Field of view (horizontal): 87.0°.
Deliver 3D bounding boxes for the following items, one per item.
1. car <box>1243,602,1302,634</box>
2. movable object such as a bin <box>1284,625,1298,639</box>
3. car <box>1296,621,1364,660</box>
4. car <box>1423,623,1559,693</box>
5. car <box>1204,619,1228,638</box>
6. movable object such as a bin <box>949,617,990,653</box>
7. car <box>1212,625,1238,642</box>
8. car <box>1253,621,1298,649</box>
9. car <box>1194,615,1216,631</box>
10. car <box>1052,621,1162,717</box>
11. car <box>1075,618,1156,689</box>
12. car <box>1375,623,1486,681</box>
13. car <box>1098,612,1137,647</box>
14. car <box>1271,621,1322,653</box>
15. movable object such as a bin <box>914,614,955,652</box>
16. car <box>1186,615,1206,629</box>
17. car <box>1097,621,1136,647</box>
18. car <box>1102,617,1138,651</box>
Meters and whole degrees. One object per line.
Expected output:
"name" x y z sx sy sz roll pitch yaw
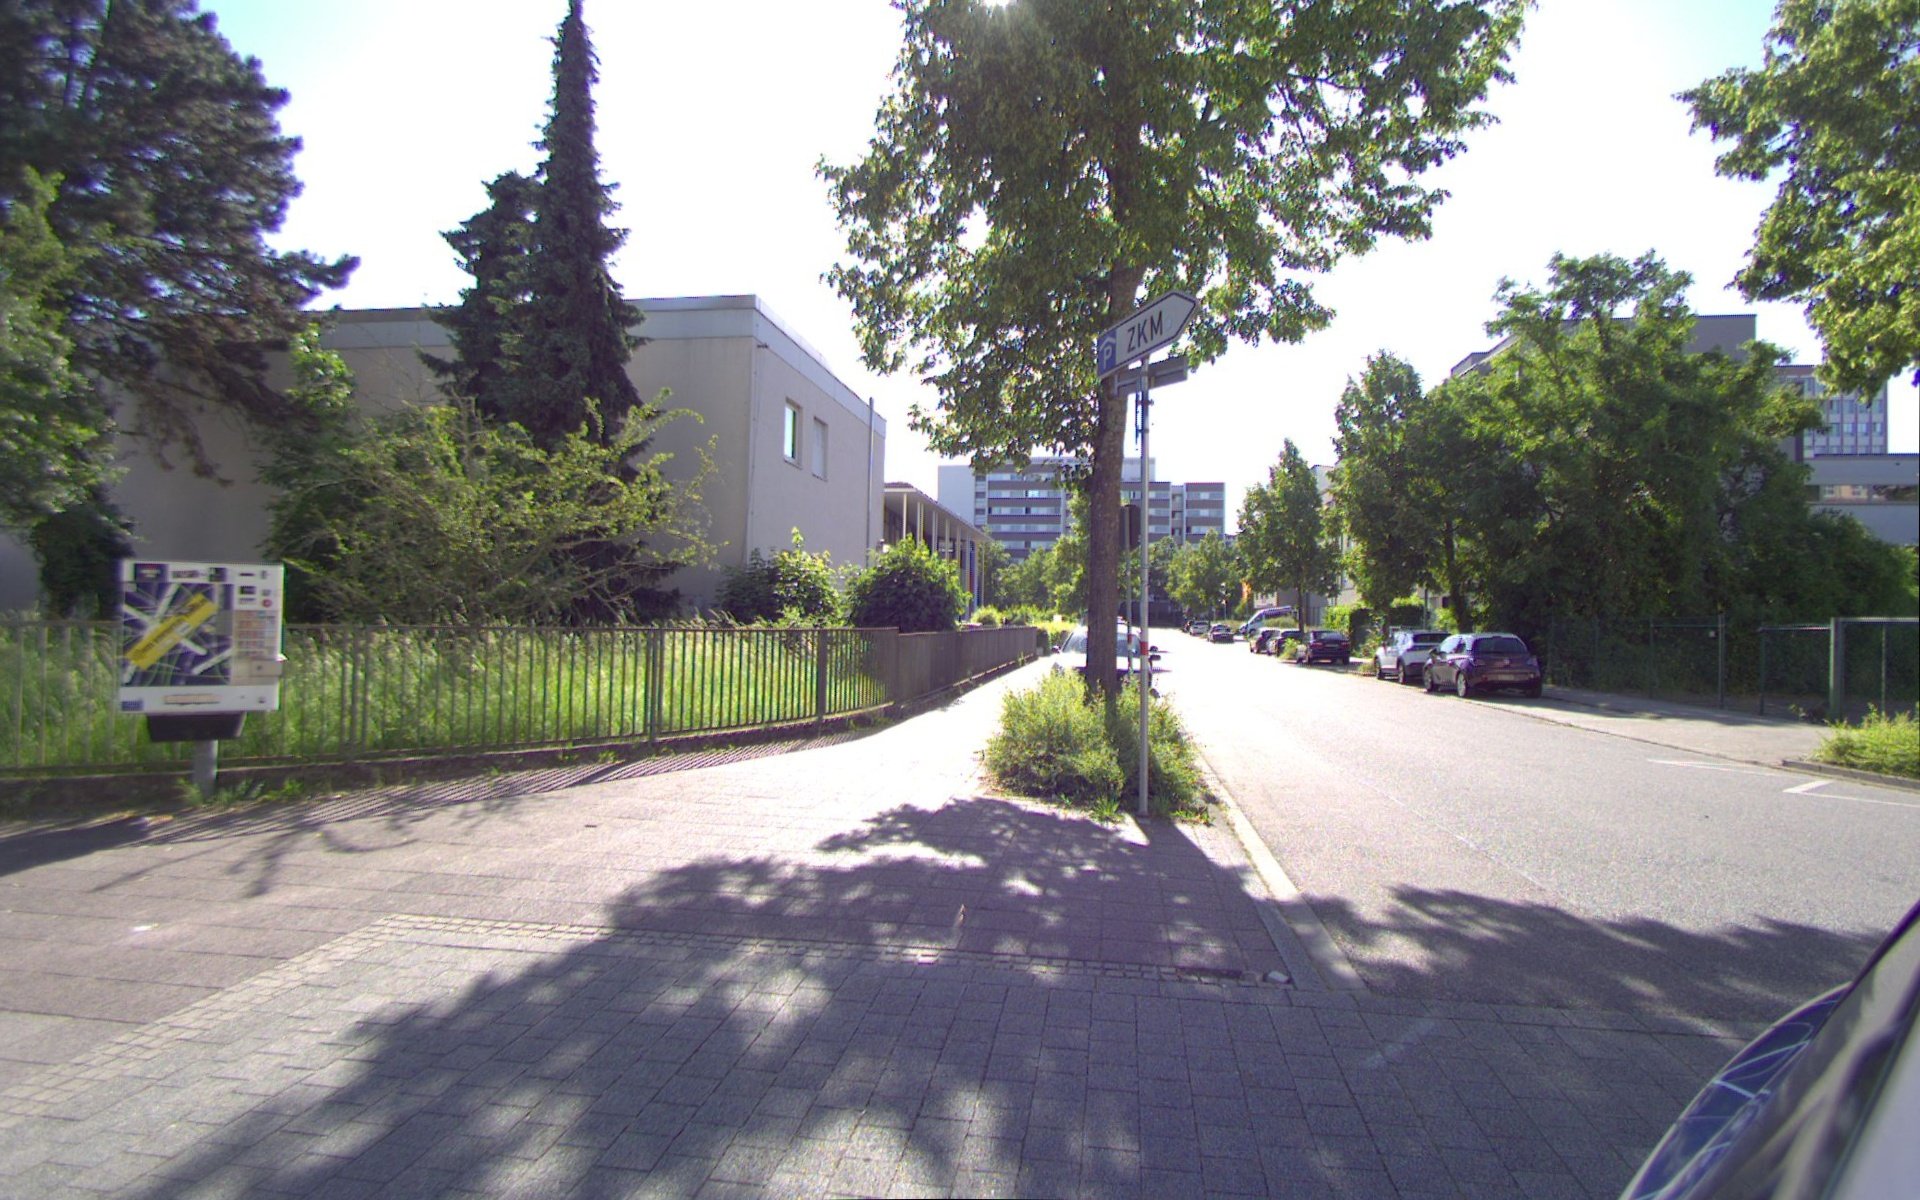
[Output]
"car" 29.738 1.686 96.359 5.066 2.939 2.010 1 -1 6
"movable object such as a bin" 25.509 2.433 77.947 0.848 1.051 0.676 -2 -1 7
"car" 15.425 1.674 42.424 1.816 1.493 4.347 -1 -1 9
"car" 12.542 1.328 24.139 1.694 1.493 3.538 -1 -1 7
"car" 22.020 2.419 87.024 1.605 1.544 3.553 1 -1 9
"movable object such as a bin" 0.378 1.377 40.212 1.349 1.375 1.626 1 -1 10
"car" 21.243 2.656 81.216 1.605 1.263 3.552 1 -1 9
"car" 17.903 1.957 57.560 1.816 1.493 4.088 -1 -1 9
"car" 25.658 2.424 106.218 1.766 1.620 3.882 0 -1 7
"car" 2.704 1.134 18.238 1.724 1.440 4.411 0 0 10
"car" 3.727 1.232 24.555 1.759 1.535 3.990 1 -1 8
"car" 13.483 1.443 29.255 1.816 1.493 3.991 -1 -1 9
"car" 8.391 1.532 53.768 1.876 1.704 4.397 2 0 10
"car" 17.148 1.862 51.706 1.816 1.493 4.016 -1 -1 9
"movable object such as a bin" -1.000 1.306 40.510 1.349 1.467 1.626 1 -1 10
"car" 26.814 2.502 114.980 1.766 1.537 3.882 0 -1 7
"car" 9.294 2.009 60.420 1.935 1.336 4.767 3 0 6
"car" 7.664 1.614 48.682 1.653 1.523 3.836 1 -1 8
